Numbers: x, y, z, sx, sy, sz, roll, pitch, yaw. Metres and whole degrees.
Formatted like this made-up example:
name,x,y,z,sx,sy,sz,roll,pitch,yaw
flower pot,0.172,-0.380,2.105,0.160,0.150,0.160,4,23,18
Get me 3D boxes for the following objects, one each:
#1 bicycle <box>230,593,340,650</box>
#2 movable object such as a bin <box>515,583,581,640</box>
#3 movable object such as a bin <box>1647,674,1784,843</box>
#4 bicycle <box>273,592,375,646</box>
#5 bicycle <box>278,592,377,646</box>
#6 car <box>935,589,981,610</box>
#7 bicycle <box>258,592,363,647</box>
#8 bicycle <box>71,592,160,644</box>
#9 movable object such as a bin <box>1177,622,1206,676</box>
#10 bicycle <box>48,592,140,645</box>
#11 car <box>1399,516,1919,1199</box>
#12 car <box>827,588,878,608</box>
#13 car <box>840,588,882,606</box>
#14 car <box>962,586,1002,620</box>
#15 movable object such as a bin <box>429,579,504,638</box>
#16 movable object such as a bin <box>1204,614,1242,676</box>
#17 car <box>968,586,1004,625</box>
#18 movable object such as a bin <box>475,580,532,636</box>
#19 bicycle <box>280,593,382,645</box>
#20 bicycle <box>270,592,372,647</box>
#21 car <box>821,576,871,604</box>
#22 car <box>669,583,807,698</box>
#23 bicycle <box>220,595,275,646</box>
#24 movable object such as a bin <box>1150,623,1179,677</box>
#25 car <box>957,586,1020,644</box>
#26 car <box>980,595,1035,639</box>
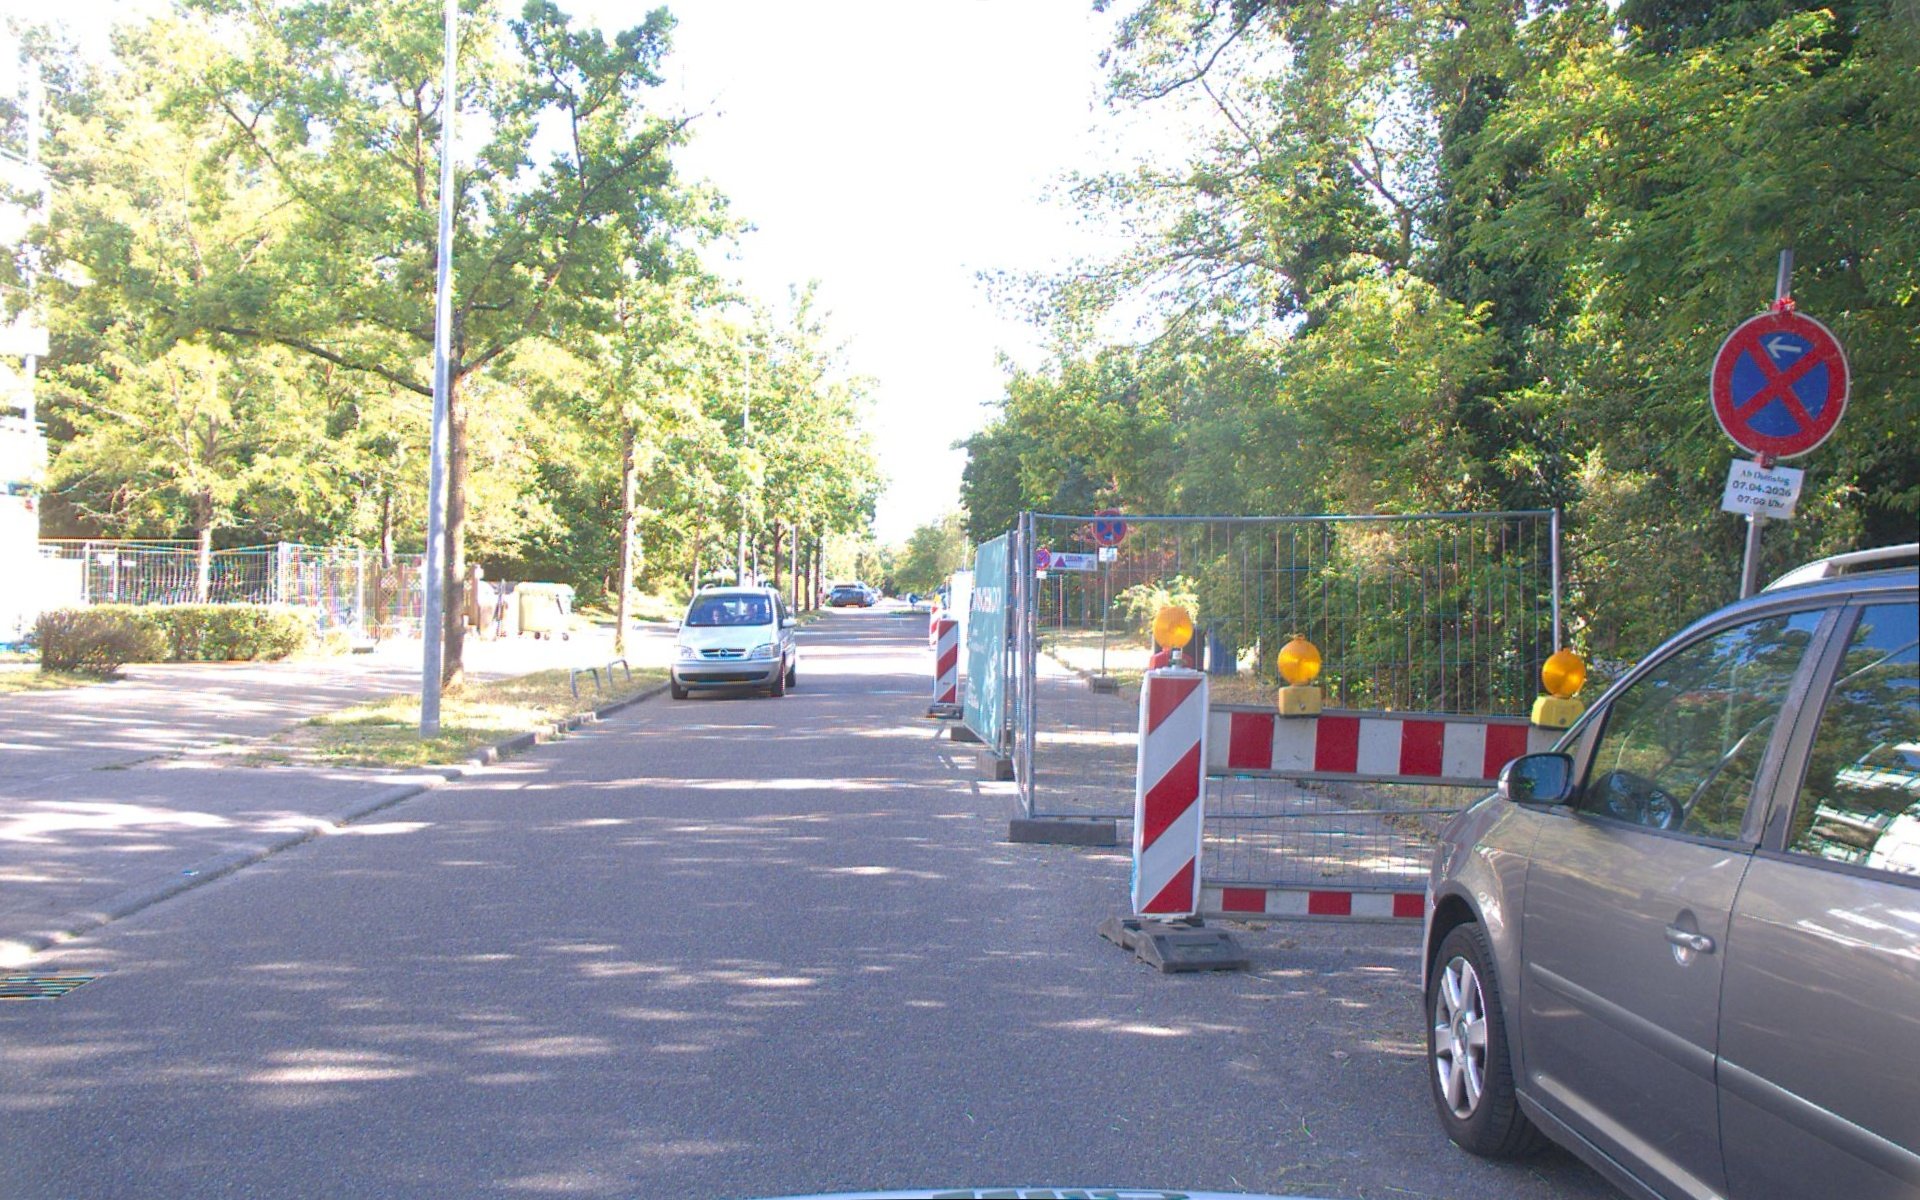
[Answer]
name,x,y,z,sx,sy,sz,roll,pitch,yaw
bicycle,-12.637,0.401,30.997,1.837,1.045,0.399,1,-1,-15
movable object such as a bin,-10.691,0.289,42.932,1.242,1.460,1.182,0,0,14
movable object such as a bin,4.188,0.869,9.195,0.474,0.876,0.559,1,0,-4
bicycle,-12.636,0.389,32.884,1.828,1.045,0.399,1,-1,-15
bicycle,-12.720,0.386,33.304,1.807,1.045,0.399,1,-1,-15
car,-0.173,-0.024,143.563,3.758,1.604,1.689,2,0,5
bicycle,-12.529,0.383,31.943,1.824,1.045,0.399,1,-1,-15
bicycle,-17.450,0.371,34.190,1.659,1.045,0.401,1,-1,4
movable object such as a bin,3.919,0.829,27.996,0.404,0.885,0.484,-1,0,-1
bicycle,-17.538,0.372,33.511,1.659,1.045,0.401,1,-1,4
car,2.333,0.711,3.273,1.645,1.650,4.135,2,0,-2
car,-9.568,-0.166,147.804,4.227,1.604,2.047,2,0,5
car,-9.811,-0.292,164.104,4.022,1.604,1.958,2,0,0
car,1.223,0.133,94.196,1.756,1.816,4.552,2,0,-5
movable object such as a bin,-12.444,0.207,41.737,1.244,1.460,1.324,0,0,26
movable object such as a bin,4.428,0.753,27.871,0.508,1.017,0.608,-1,0,-1
car,1.305,0.263,82.889,1.590,1.804,3.668,2,0,-1
movable object such as a bin,-12.316,0.210,44.594,1.132,1.460,1.258,0,0,-35
bicycle,-12.827,0.389,33.765,1.882,1.045,0.399,1,-1,-15
bicycle,-12.516,0.386,32.416,1.807,1.045,0.399,1,-1,-15
car,-11.947,-1.065,172.987,5.100,2.666,2.290,2,0,-7
car,-3.348,0.566,25.562,1.625,1.624,4.008,0,0,-1
bicycle,-14.926,0.430,34.673,0.391,1.045,1.700,1,-1,1
movable object such as a bin,3.440,0.838,27.893,0.404,0.885,0.484,-1,0,-1
car,0.932,0.440,51.847,1.772,1.680,4.422,2,0,2
car,1.648,0.575,58.457,1.628,1.399,4.153,2,0,-2
